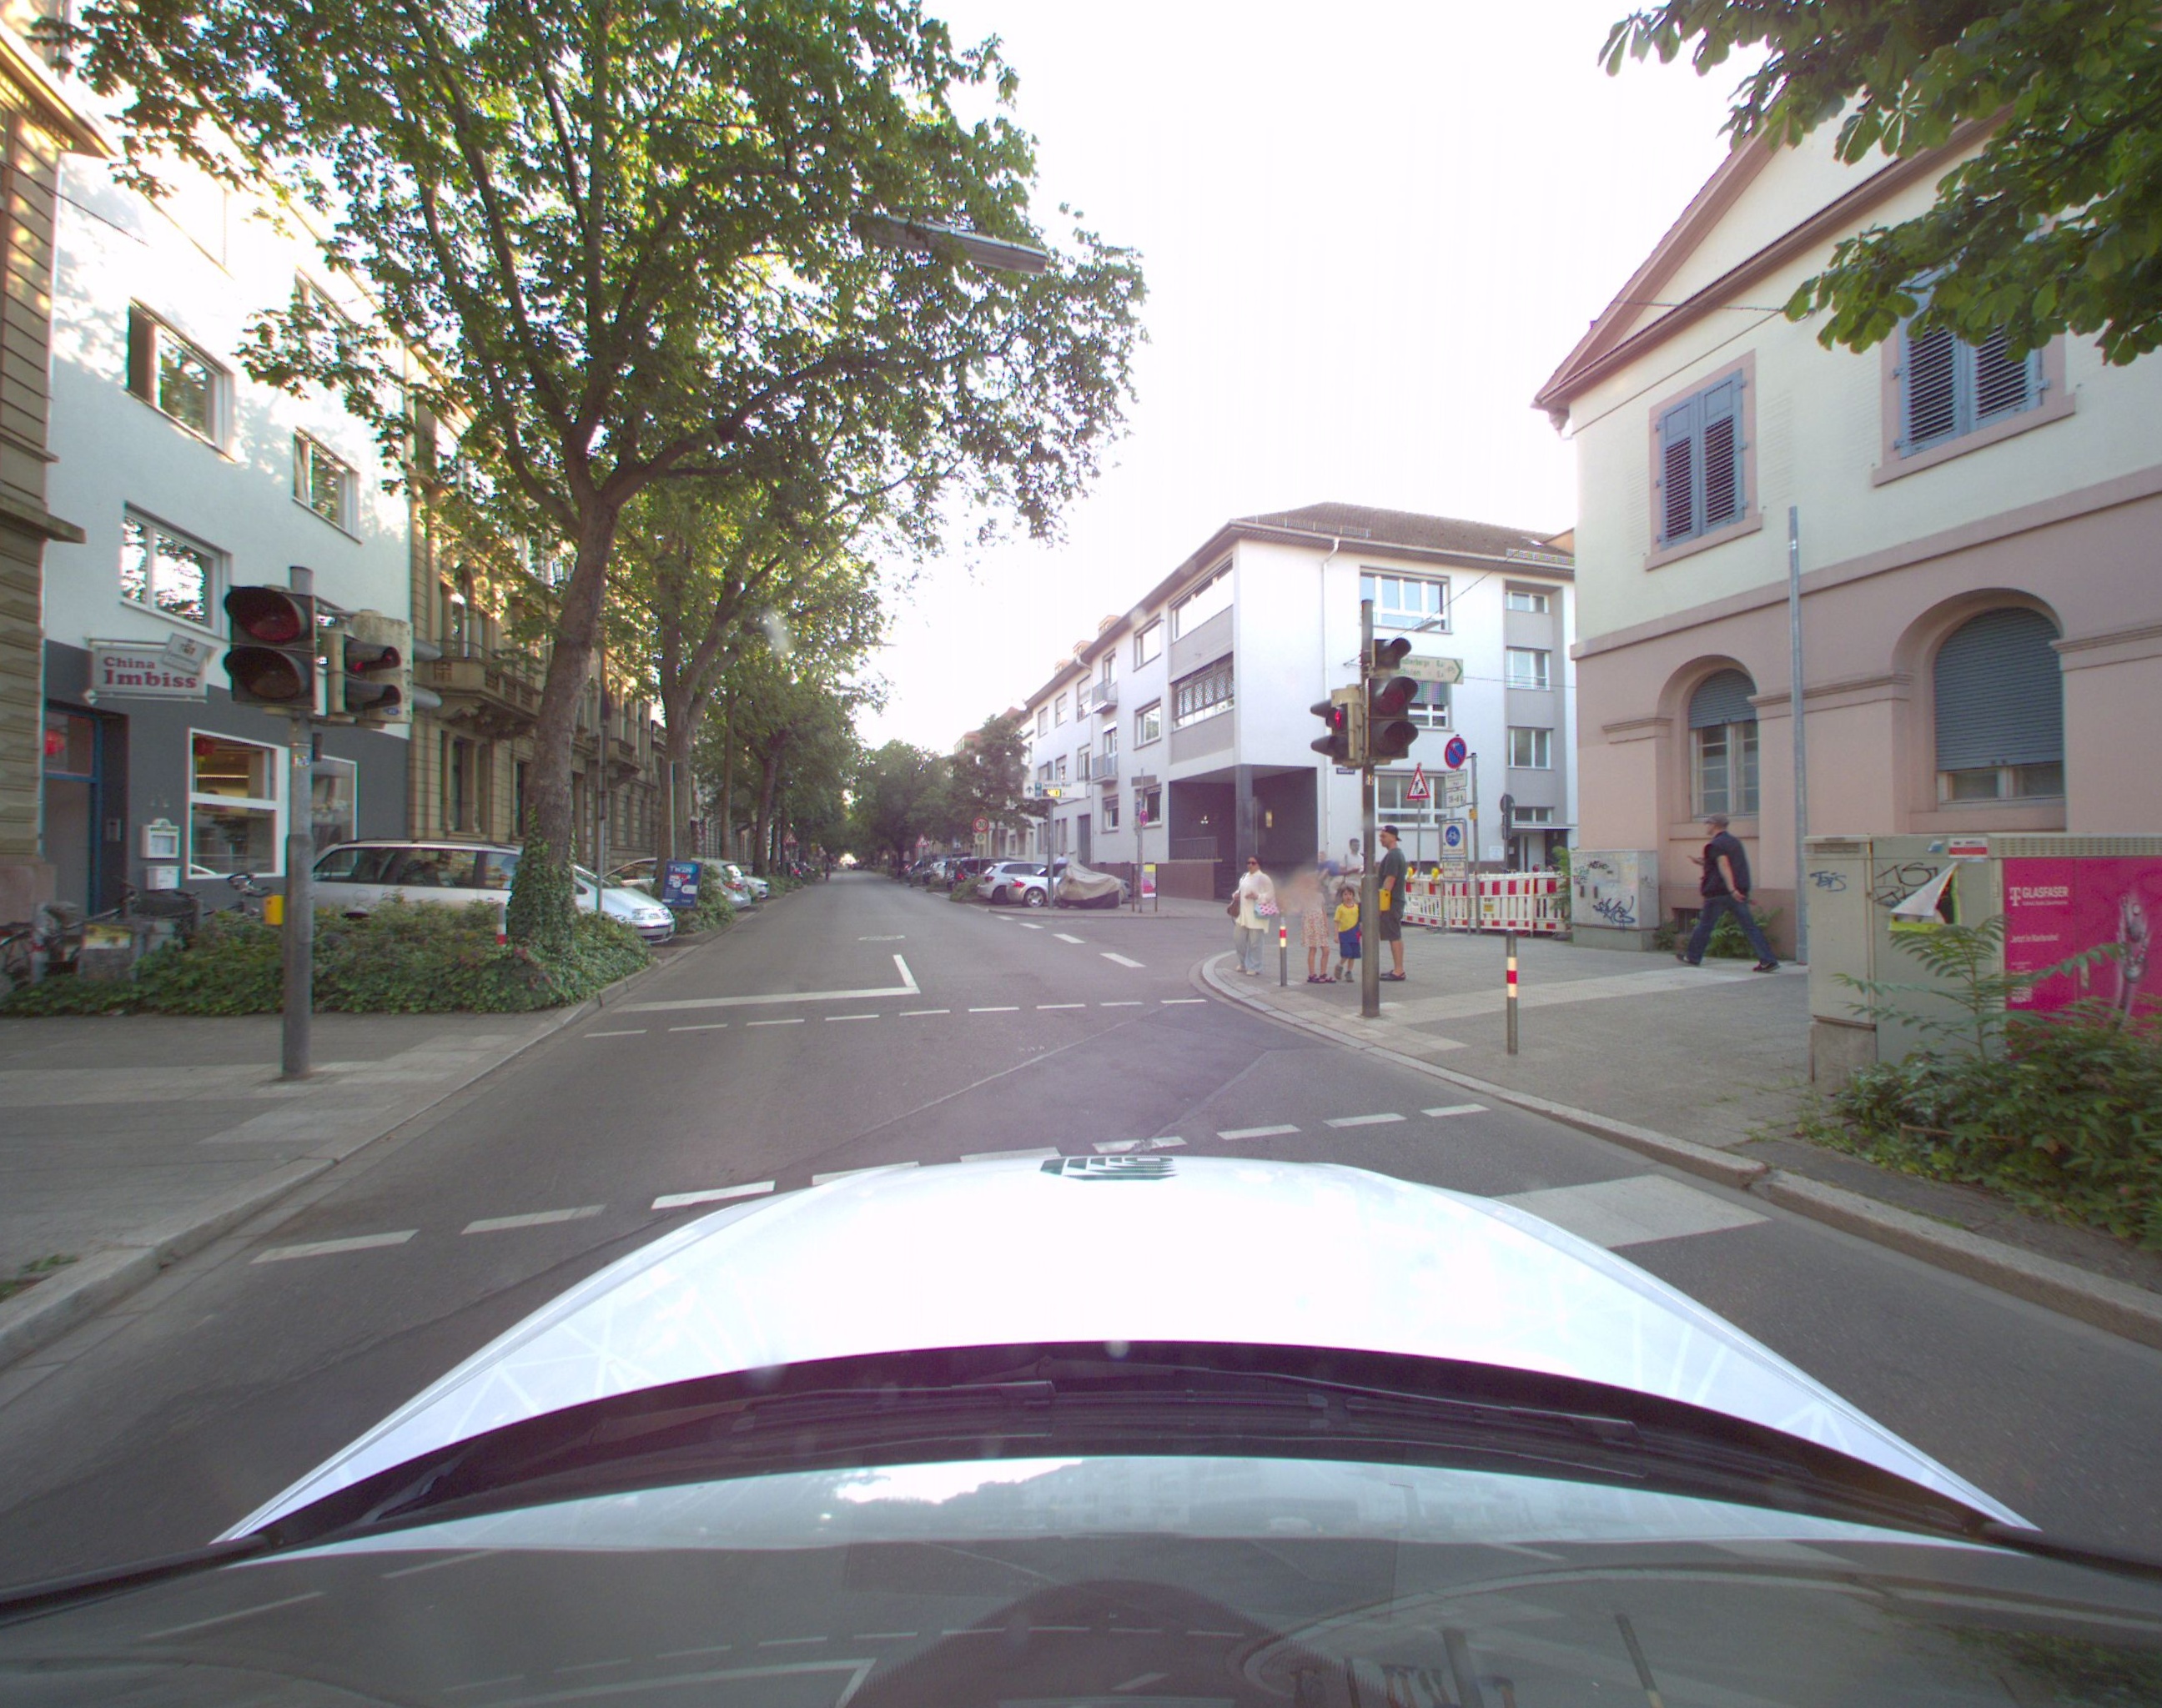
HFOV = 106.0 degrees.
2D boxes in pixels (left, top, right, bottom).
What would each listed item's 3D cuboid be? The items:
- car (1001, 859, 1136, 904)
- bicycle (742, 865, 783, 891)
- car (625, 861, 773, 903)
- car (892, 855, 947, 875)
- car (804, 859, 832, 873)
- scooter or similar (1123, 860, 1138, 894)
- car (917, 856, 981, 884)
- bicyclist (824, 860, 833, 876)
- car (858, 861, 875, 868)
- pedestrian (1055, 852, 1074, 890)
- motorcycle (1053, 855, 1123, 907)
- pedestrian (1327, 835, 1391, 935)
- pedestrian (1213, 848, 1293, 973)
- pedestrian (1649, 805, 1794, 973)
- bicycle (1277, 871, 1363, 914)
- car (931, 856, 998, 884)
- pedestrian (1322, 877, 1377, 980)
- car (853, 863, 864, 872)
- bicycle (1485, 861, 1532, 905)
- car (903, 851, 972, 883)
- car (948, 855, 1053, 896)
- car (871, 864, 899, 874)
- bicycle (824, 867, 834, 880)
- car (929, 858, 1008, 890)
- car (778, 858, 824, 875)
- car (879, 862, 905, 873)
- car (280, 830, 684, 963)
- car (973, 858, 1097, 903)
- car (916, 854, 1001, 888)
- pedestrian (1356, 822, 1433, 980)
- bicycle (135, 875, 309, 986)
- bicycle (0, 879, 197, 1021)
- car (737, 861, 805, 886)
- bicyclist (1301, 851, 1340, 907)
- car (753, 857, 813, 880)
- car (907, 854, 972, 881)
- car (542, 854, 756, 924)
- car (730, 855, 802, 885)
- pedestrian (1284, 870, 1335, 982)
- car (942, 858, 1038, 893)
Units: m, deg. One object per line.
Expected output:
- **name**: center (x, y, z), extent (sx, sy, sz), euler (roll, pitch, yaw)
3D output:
- **car**: center (-0.425, 0.836, 25.797), extent (3.992, 1.333, 1.786), euler (-1, 0, -14)
- **bicycle**: center (-15.610, 1.174, 39.958), extent (1.772, 1.232, 0.498), euler (0, -2, -12)
- **car**: center (-13.550, 0.974, 29.181), extent (4.520, 1.390, 1.906), euler (0, -1, -15)
- **car**: center (-14.160, 0.983, 71.421), extent (4.414, 1.393, 1.874), euler (-4, 0, -19)
- **car**: center (-47.432, 2.092, 147.098), extent (4.693, 2.478, 1.989), euler (0, -1, -17)
- **scooter or similar**: center (1.867, 0.851, 30.930), extent (0.345, 1.239, 1.417), euler (0, 0, -6)
- **car**: center (-8.812, 1.063, 54.297), extent (3.976, 1.578, 1.840), euler (-4, 0, -18)
- **bicyclist**: center (-20.756, 1.163, 67.065), extent (0.673, 1.263, 0.644), euler (-1, -1, -16)
- **car**: center (-55.424, 2.636, 210.572), extent (4.278, 1.565, 1.952), euler (-2, -1, -17)
- **pedestrian**: center (-0.825, 0.825, 39.620), extent (0.698, 1.795, 0.876), euler (-1, -1, -16)
- **motorcycle**: center (0.185, 0.751, 23.012), extent (1.903, 1.392, 0.998), euler (-1, -1, -4)
- **pedestrian**: center (5.389, 0.586, 15.843), extent (0.697, 1.855, 1.045), euler (-2, 0, -11)
- **pedestrian**: center (2.183, 0.694, 10.348), extent (0.711, 1.511, 0.603), euler (-3, 0, 45)
- **pedestrian**: center (7.337, 0.376, 9.375), extent (0.698, 1.795, 1.060), euler (-2, 0, -16)
- **bicycle**: center (5.979, 0.966, 20.399), extent (1.964, 1.030, 0.674), euler (1, -2, -1)
- **car**: center (-7.180, 0.965, 50.012), extent (3.803, 1.423, 1.687), euler (-4, 0, -18)
- **pedestrian**: center (3.148, 0.865, 9.591), extent (0.540, 1.145, 0.495), euler (-2, 0, 14)
- **car**: center (-43.006, 2.668, 157.336), extent (1.961, 1.565, 4.258), euler (-2, -1, -16)
- **bicycle**: center (12.476, 0.819, 23.771), extent (1.804, 1.239, 0.527), euler (0, -1, -39)
- **car**: center (-10.530, 0.944, 59.643), extent (4.702, 2.011, 2.025), euler (-4, 0, -17)
- **car**: center (-3.409, 0.878, 34.258), extent (4.118, 1.617, 1.950), euler (-1, -1, -16)
- **car**: center (-34.170, 2.638, 142.242), extent (4.726, 1.710, 1.940), euler (0, 0, -15)
- **bicycle**: center (-20.733, 1.602, 66.986), extent (0.673, 0.993, 1.749), euler (-1, 0, -16)
- **car**: center (-6.251, 1.088, 45.022), extent (4.081, 1.429, 1.809), euler (-4, 0, -15)
- **car**: center (-29.456, 1.334, 85.830), extent (4.434, 1.651, 1.862), euler (1, -1, -16)
- **car**: center (-27.065, 1.972, 116.617), extent (3.494, 1.452, 1.887), euler (-2, 0, -19)
- **car**: center (-8.576, 0.629, 12.217), extent (4.437, 1.722, 1.879), euler (2, -1, -19)
- **car**: center (-1.629, 0.893, 28.150), extent (3.995, 1.437, 1.784), euler (-1, -1, -16)
- **car**: center (-7.156, 0.976, 47.390), extent (4.603, 1.578, 1.932), euler (-4, 0, -18)
- **pedestrian**: center (3.689, 0.535, 9.610), extent (0.544, 1.774, 0.573), euler (-2, 0, -15)
- **bicycle**: center (-9.700, 0.821, 9.292), extent (0.500, 1.108, 1.789), euler (3, -1, -17)
- **bicycle**: center (-9.131, 0.809, 7.475), extent (0.500, 1.108, 1.789), euler (3, -1, -17)
- **car**: center (-20.399, 1.286, 53.747), extent (3.972, 1.387, 1.755), euler (3, -1, -16)
- **bicyclist**: center (5.992, 0.635, 20.406), extent (0.771, 1.364, 0.674), euler (1, -2, 0)
- **car**: center (-22.860, 1.103, 62.624), extent (4.210, 1.672, 1.897), euler (1, -1, -17)
- **car**: center (-9.963, 0.971, 57.297), extent (4.167, 1.578, 1.957), euler (-4, 0, -18)
- **car**: center (-10.164, 0.801, 19.502), extent (4.176, 1.557, 1.817), euler (0, -1, -14)
- **car**: center (-19.564, 1.006, 50.725), extent (3.973, 1.597, 1.770), euler (4, -2, -17)
- **pedestrian**: center (2.662, 0.828, 9.516), extent (0.485, 1.261, 0.453), euler (-2, 0, 12)
- **car**: center (-4.434, 1.026, 39.600), extent (4.326, 1.496, 1.783), euler (-2, -1, -18)
